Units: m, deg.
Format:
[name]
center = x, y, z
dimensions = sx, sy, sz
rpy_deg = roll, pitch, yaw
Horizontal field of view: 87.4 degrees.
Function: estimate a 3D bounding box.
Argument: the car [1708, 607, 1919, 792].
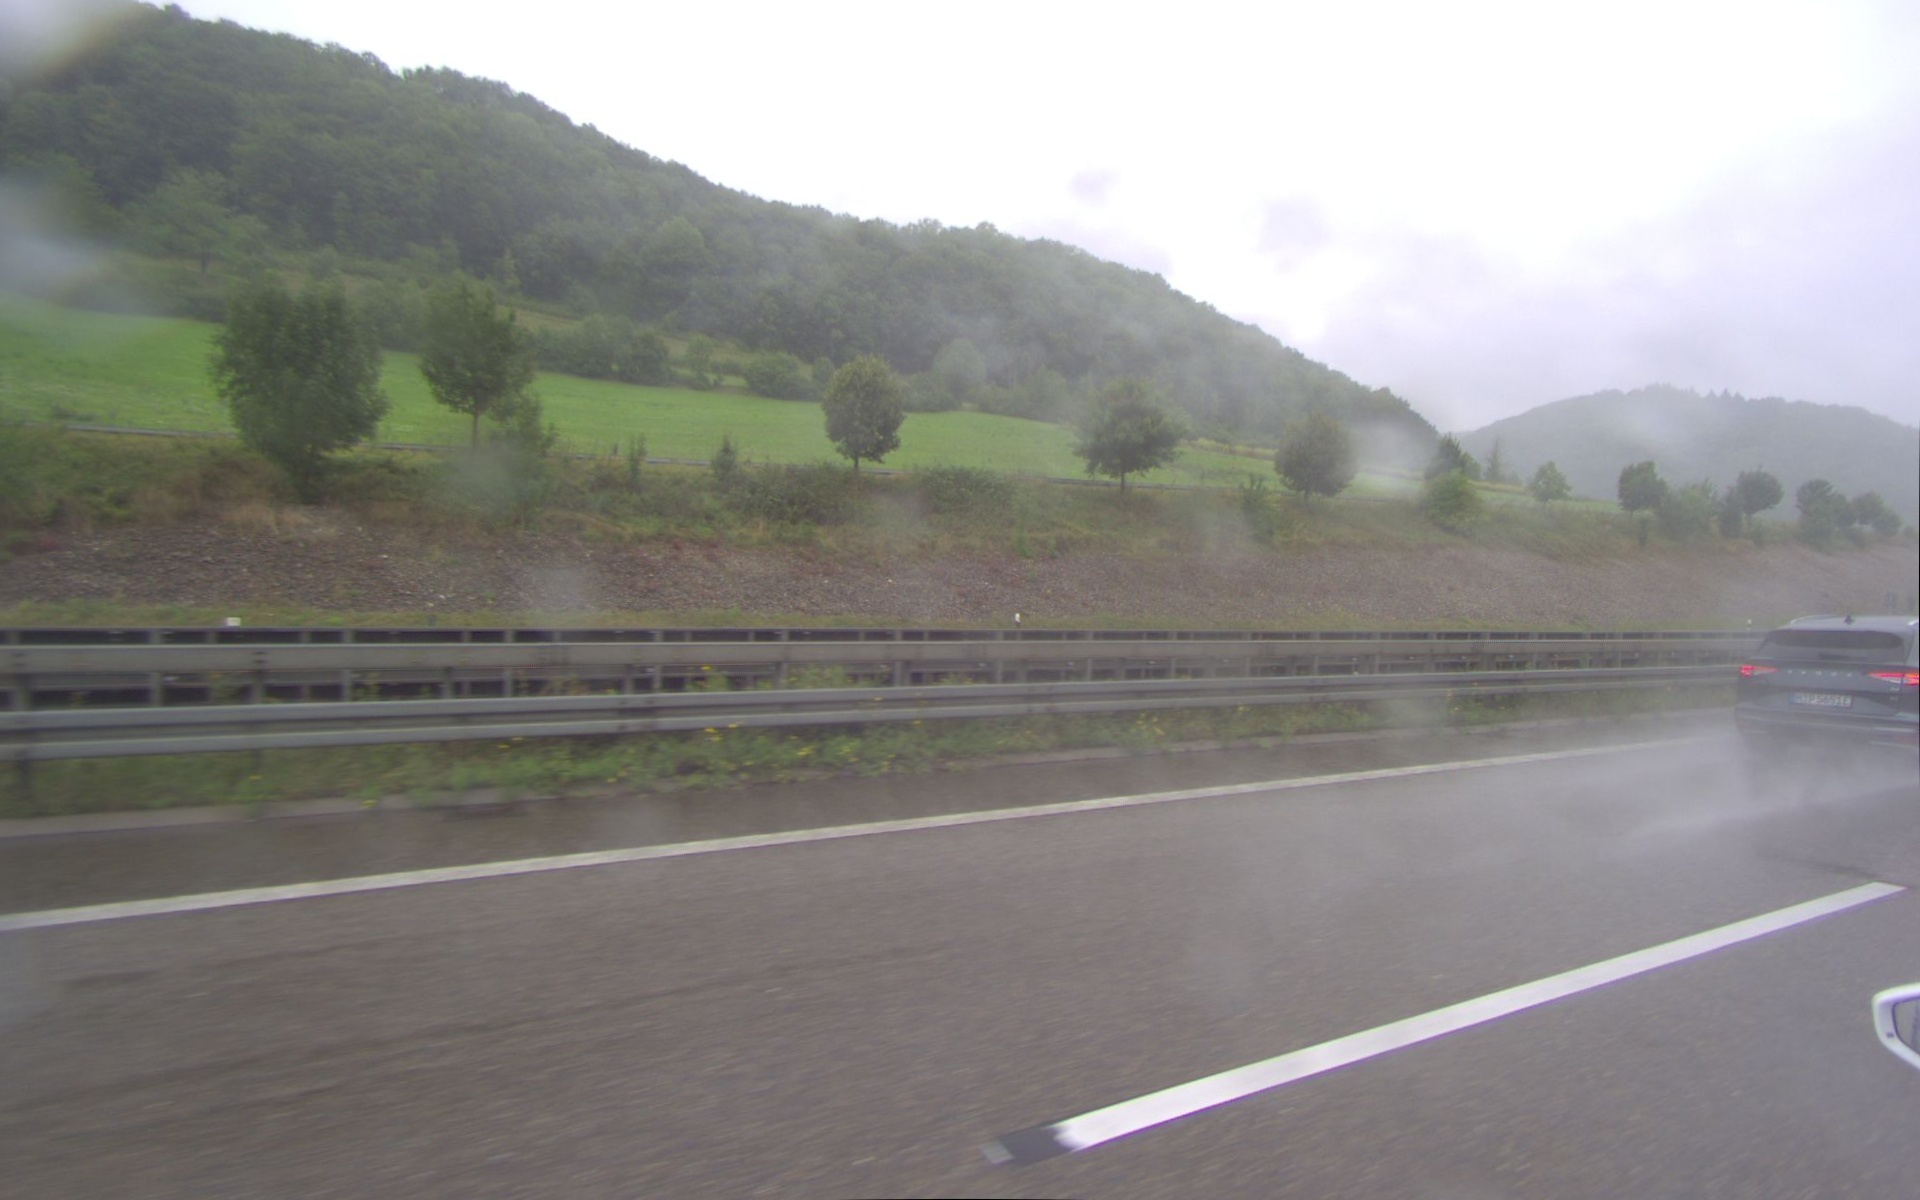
[car]
center = 10.531, 0.932, 11.113
dimensions = 4.853, 1.705, 1.983
rpy_deg = 0, -1, -32
